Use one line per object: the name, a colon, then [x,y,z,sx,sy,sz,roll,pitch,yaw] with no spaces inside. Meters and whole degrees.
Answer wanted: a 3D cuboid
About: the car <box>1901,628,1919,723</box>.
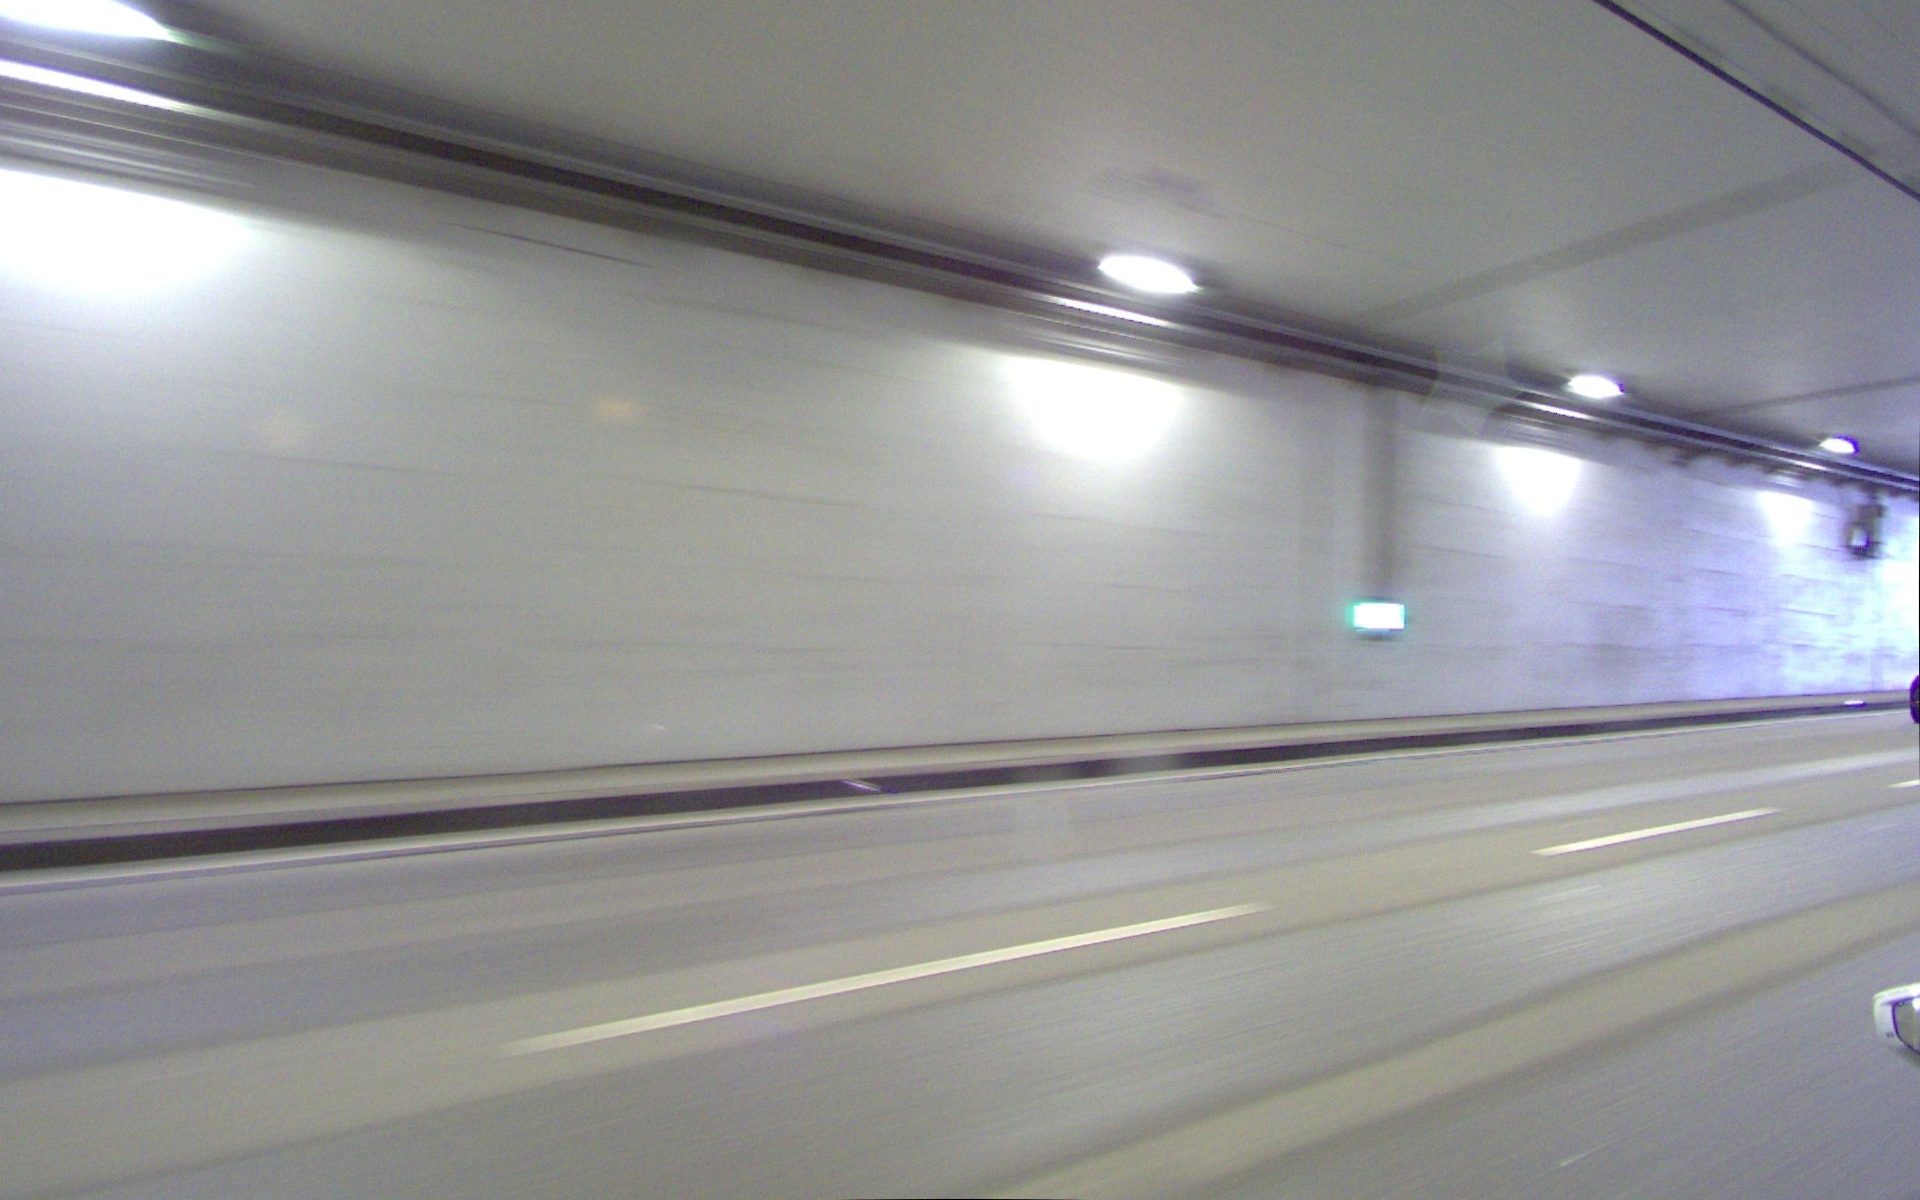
car: [16.712,1.212,16.035,3.532,1.473,1.604,1,-1,-32]
